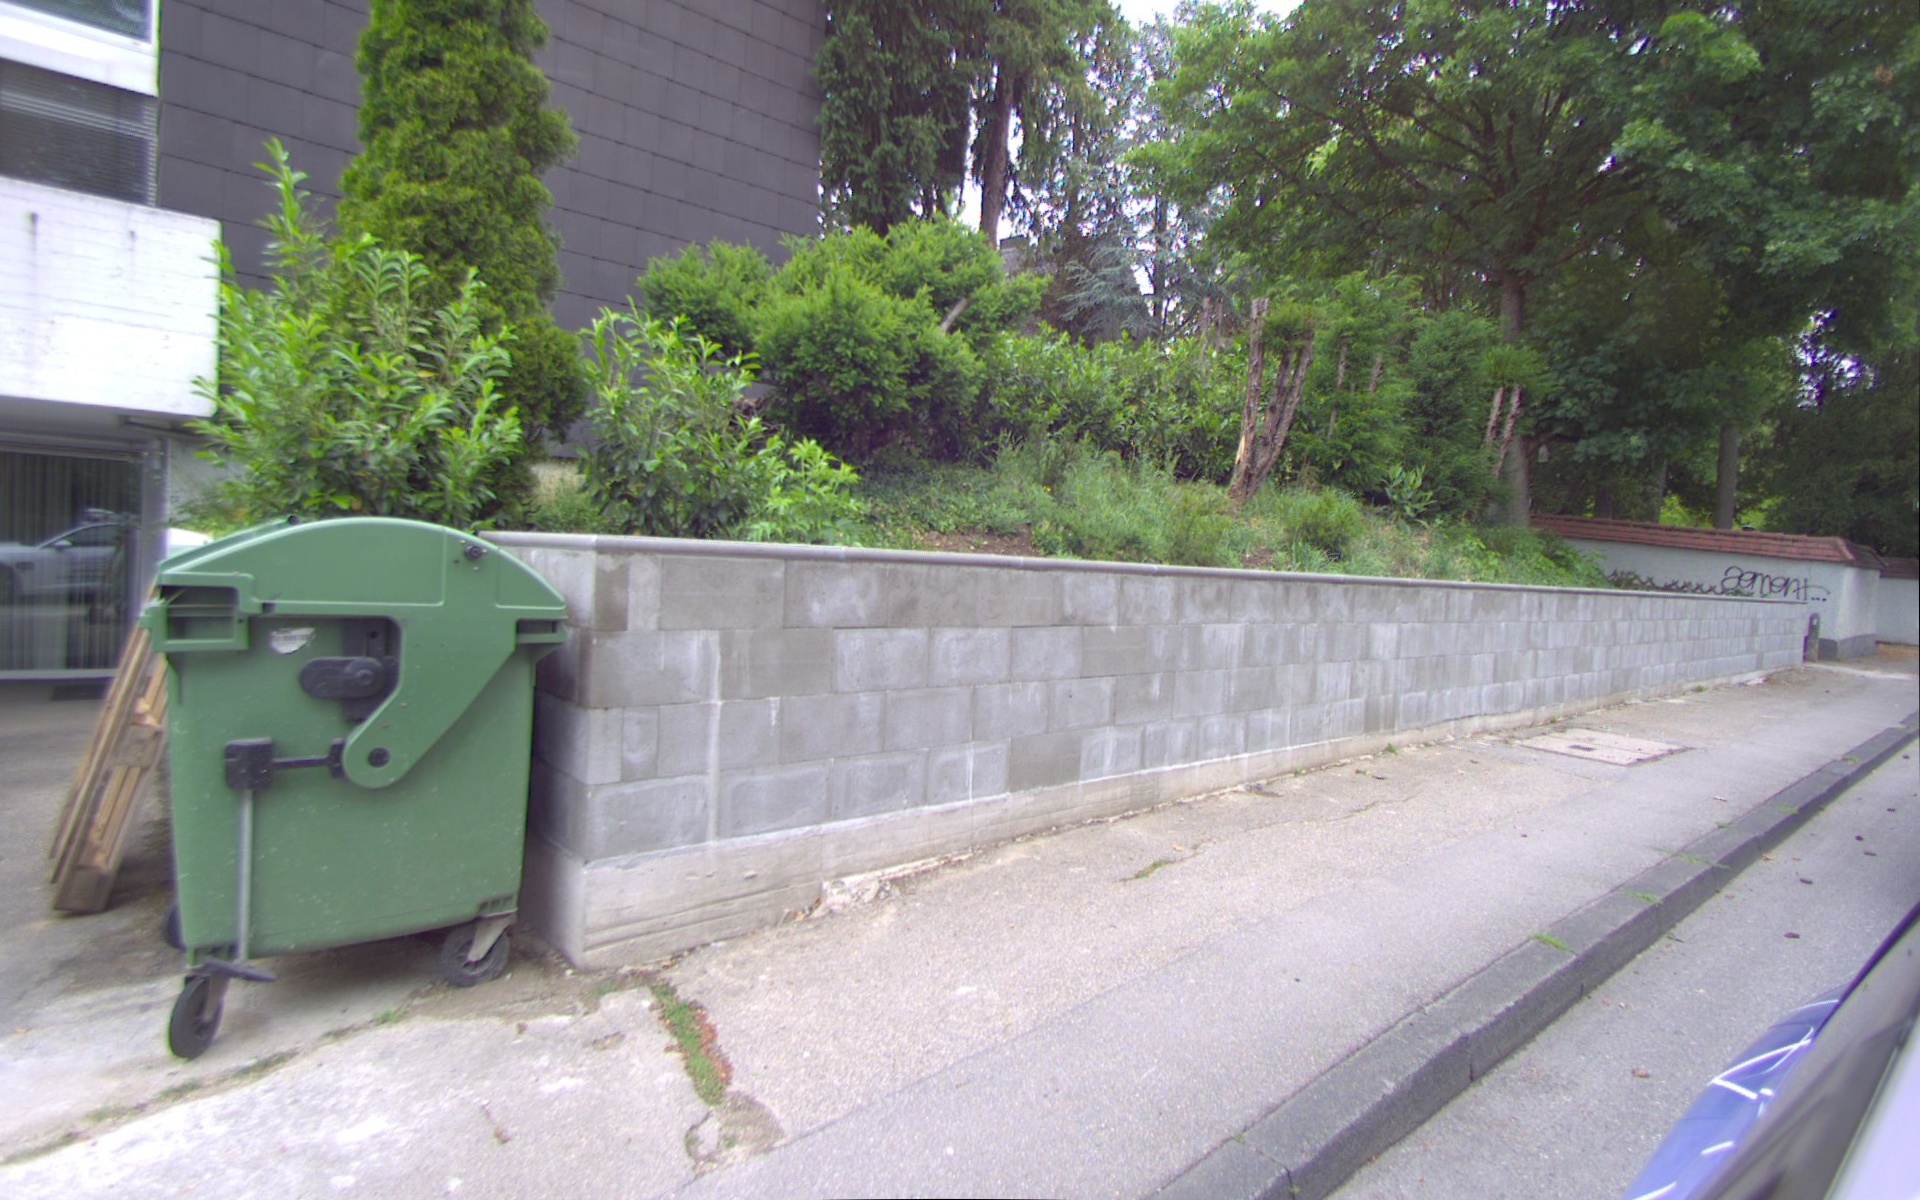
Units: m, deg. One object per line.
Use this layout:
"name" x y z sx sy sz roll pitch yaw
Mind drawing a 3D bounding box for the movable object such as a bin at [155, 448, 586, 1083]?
"movable object such as a bin" -1.871 0.381 3.181 1.014 1.549 1.037 0 2 -39

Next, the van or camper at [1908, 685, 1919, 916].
"van or camper" 6.246 0.542 5.008 4.124 1.693 1.800 0 3 -41
